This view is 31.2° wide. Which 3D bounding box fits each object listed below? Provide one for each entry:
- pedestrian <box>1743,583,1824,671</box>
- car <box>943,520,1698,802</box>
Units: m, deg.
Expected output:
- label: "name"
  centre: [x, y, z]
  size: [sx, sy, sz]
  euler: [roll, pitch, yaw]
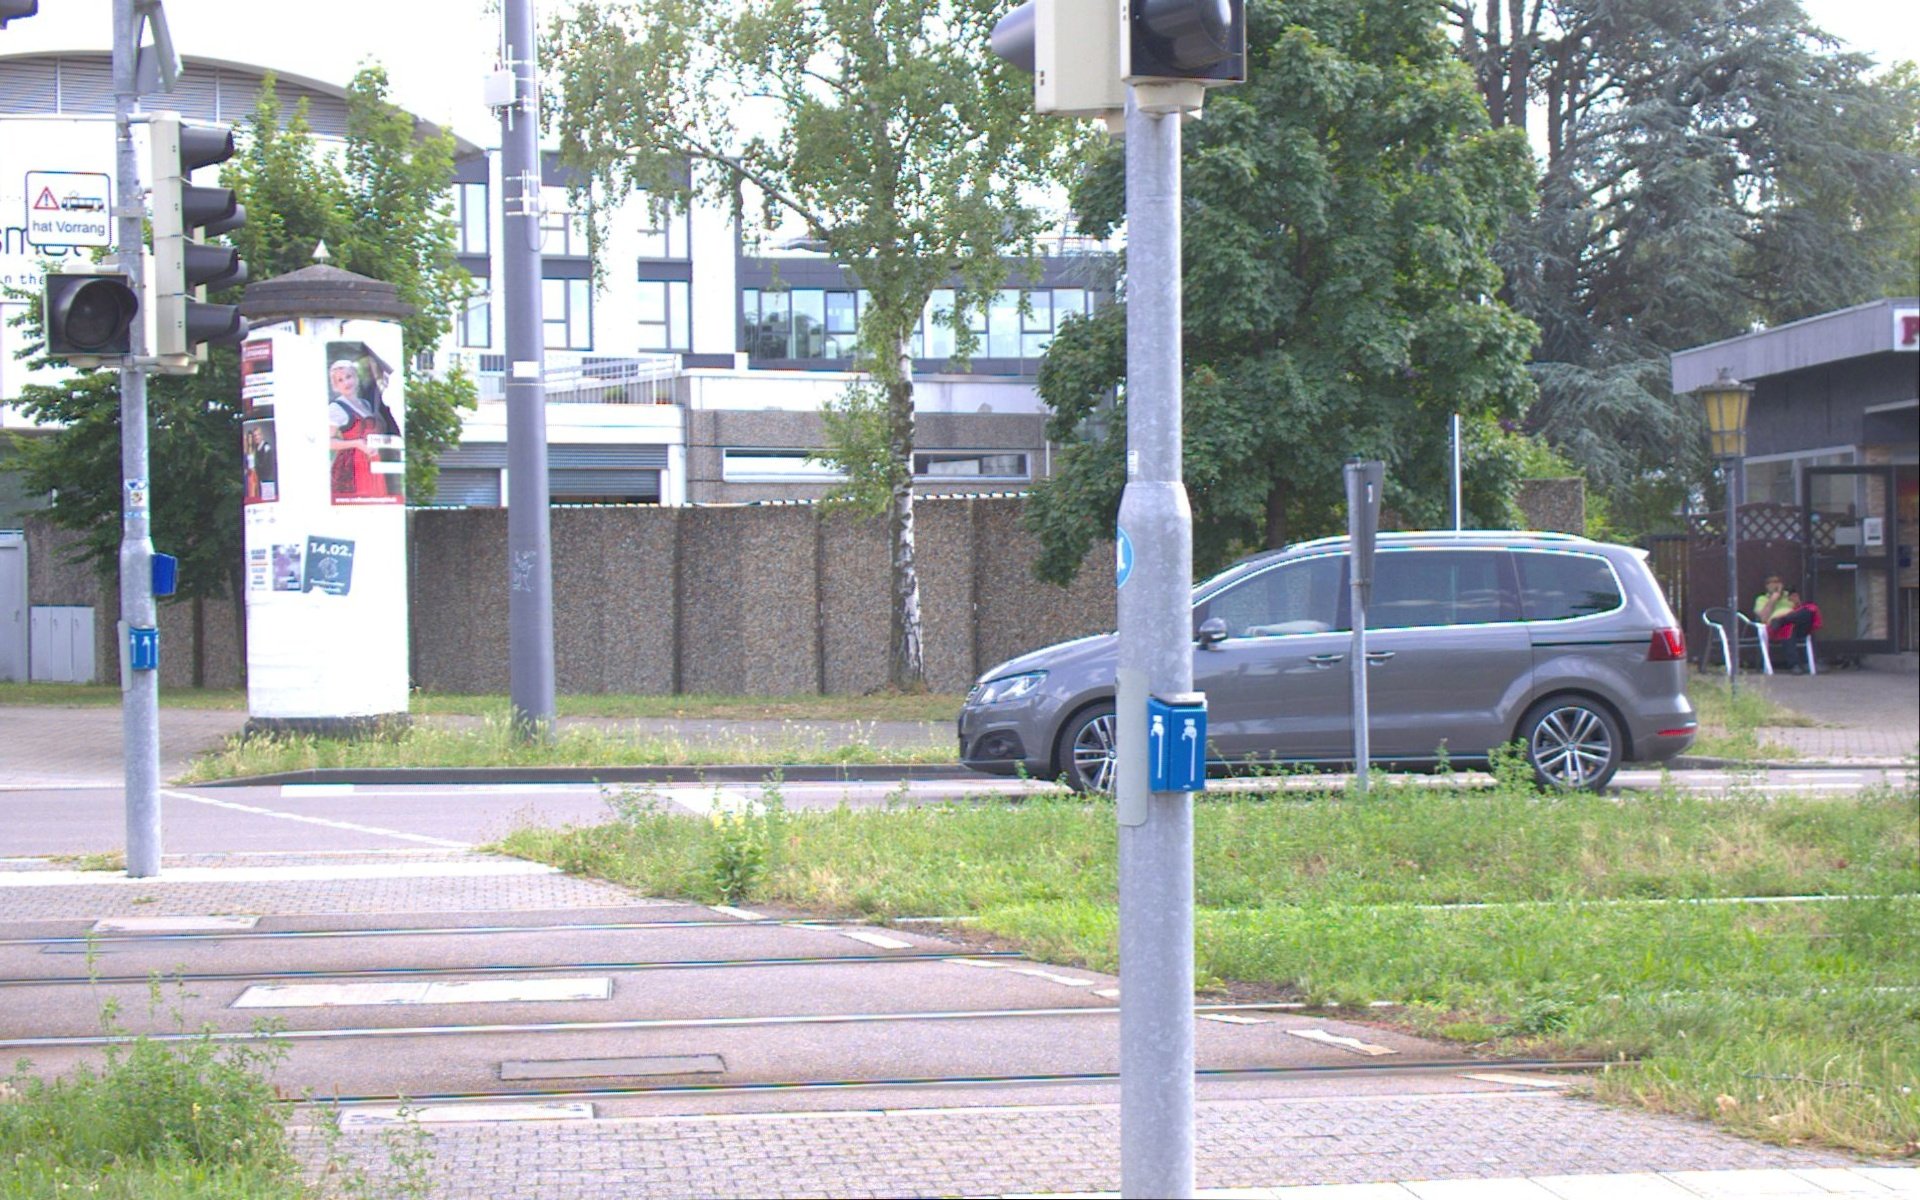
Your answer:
- label: "pedestrian"
  centre: [8.994, 0.288, 37.580]
  size: [0.725, 0.926, 0.777]
  euler: [0, 2, 3]
- label: "car"
  centre: [2.270, 0.372, 22.677]
  size: [4.724, 1.716, 2.000]
  euler: [-1, 0, -1]
